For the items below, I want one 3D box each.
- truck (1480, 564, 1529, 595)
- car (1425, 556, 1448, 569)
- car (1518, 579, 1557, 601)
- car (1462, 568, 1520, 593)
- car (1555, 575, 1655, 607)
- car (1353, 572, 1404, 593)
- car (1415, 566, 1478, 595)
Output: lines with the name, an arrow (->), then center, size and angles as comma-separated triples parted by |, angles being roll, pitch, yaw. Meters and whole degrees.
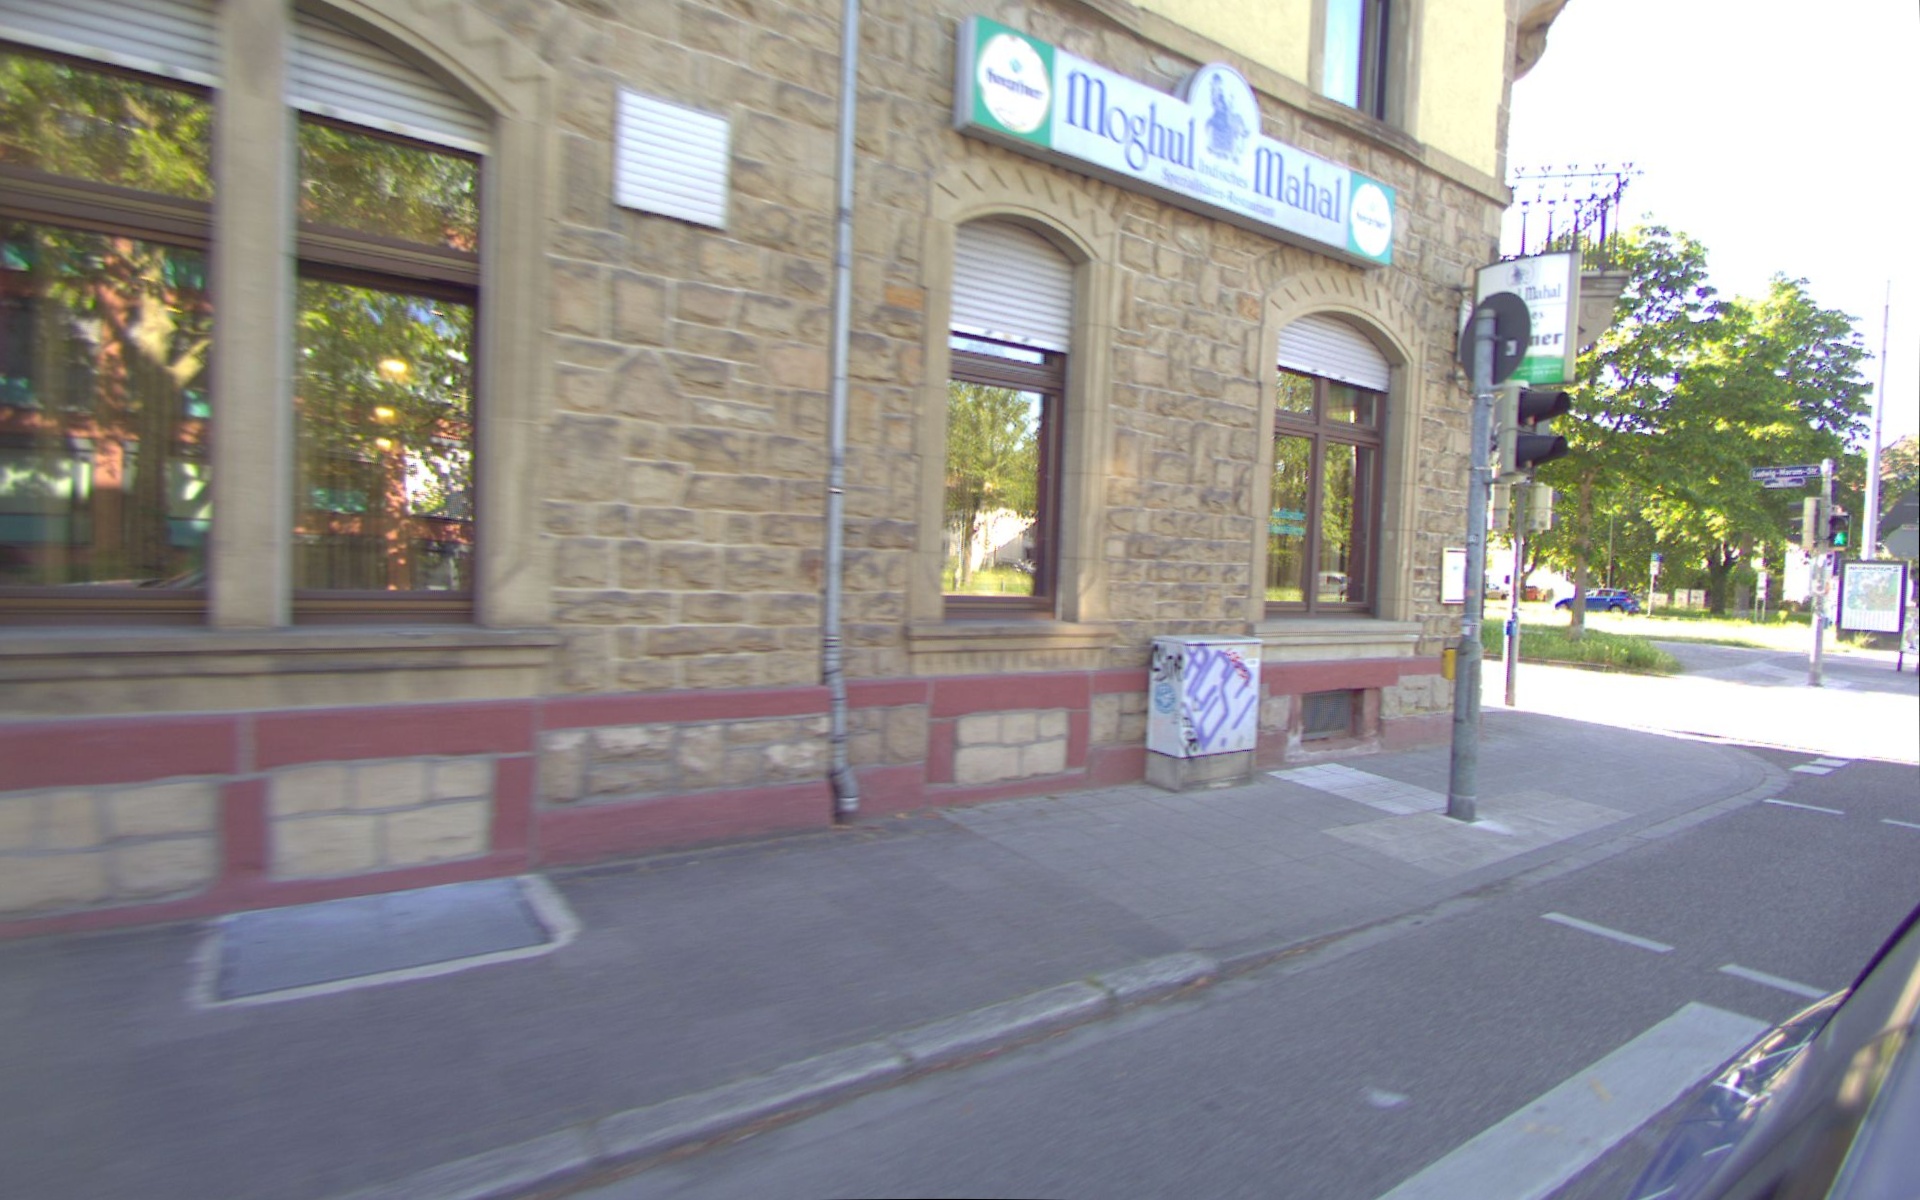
truck -> 48.641, -1.844, 90.513 | 1.966, 2.607, 4.973 | 2, 2, 6
car -> 59.902, -4.683, 127.334 | 1.732, 1.489, 3.883 | 2, 2, 12
car -> 44.953, -0.783, 78.763 | 1.603, 1.554, 4.213 | 4, 1, 44
car -> 39.459, -1.444, 75.215 | 3.636, 1.668, 1.927 | 1, 2, -25
car -> 33.556, -0.486, 52.718 | 1.782, 1.451, 4.001 | 2, 2, -36
car -> 32.755, -1.364, 79.179 | 3.820, 1.489, 1.761 | 1, 2, -32
car -> 34.859, -1.395, 72.458 | 4.254, 1.858, 1.926 | 1, 2, -30
